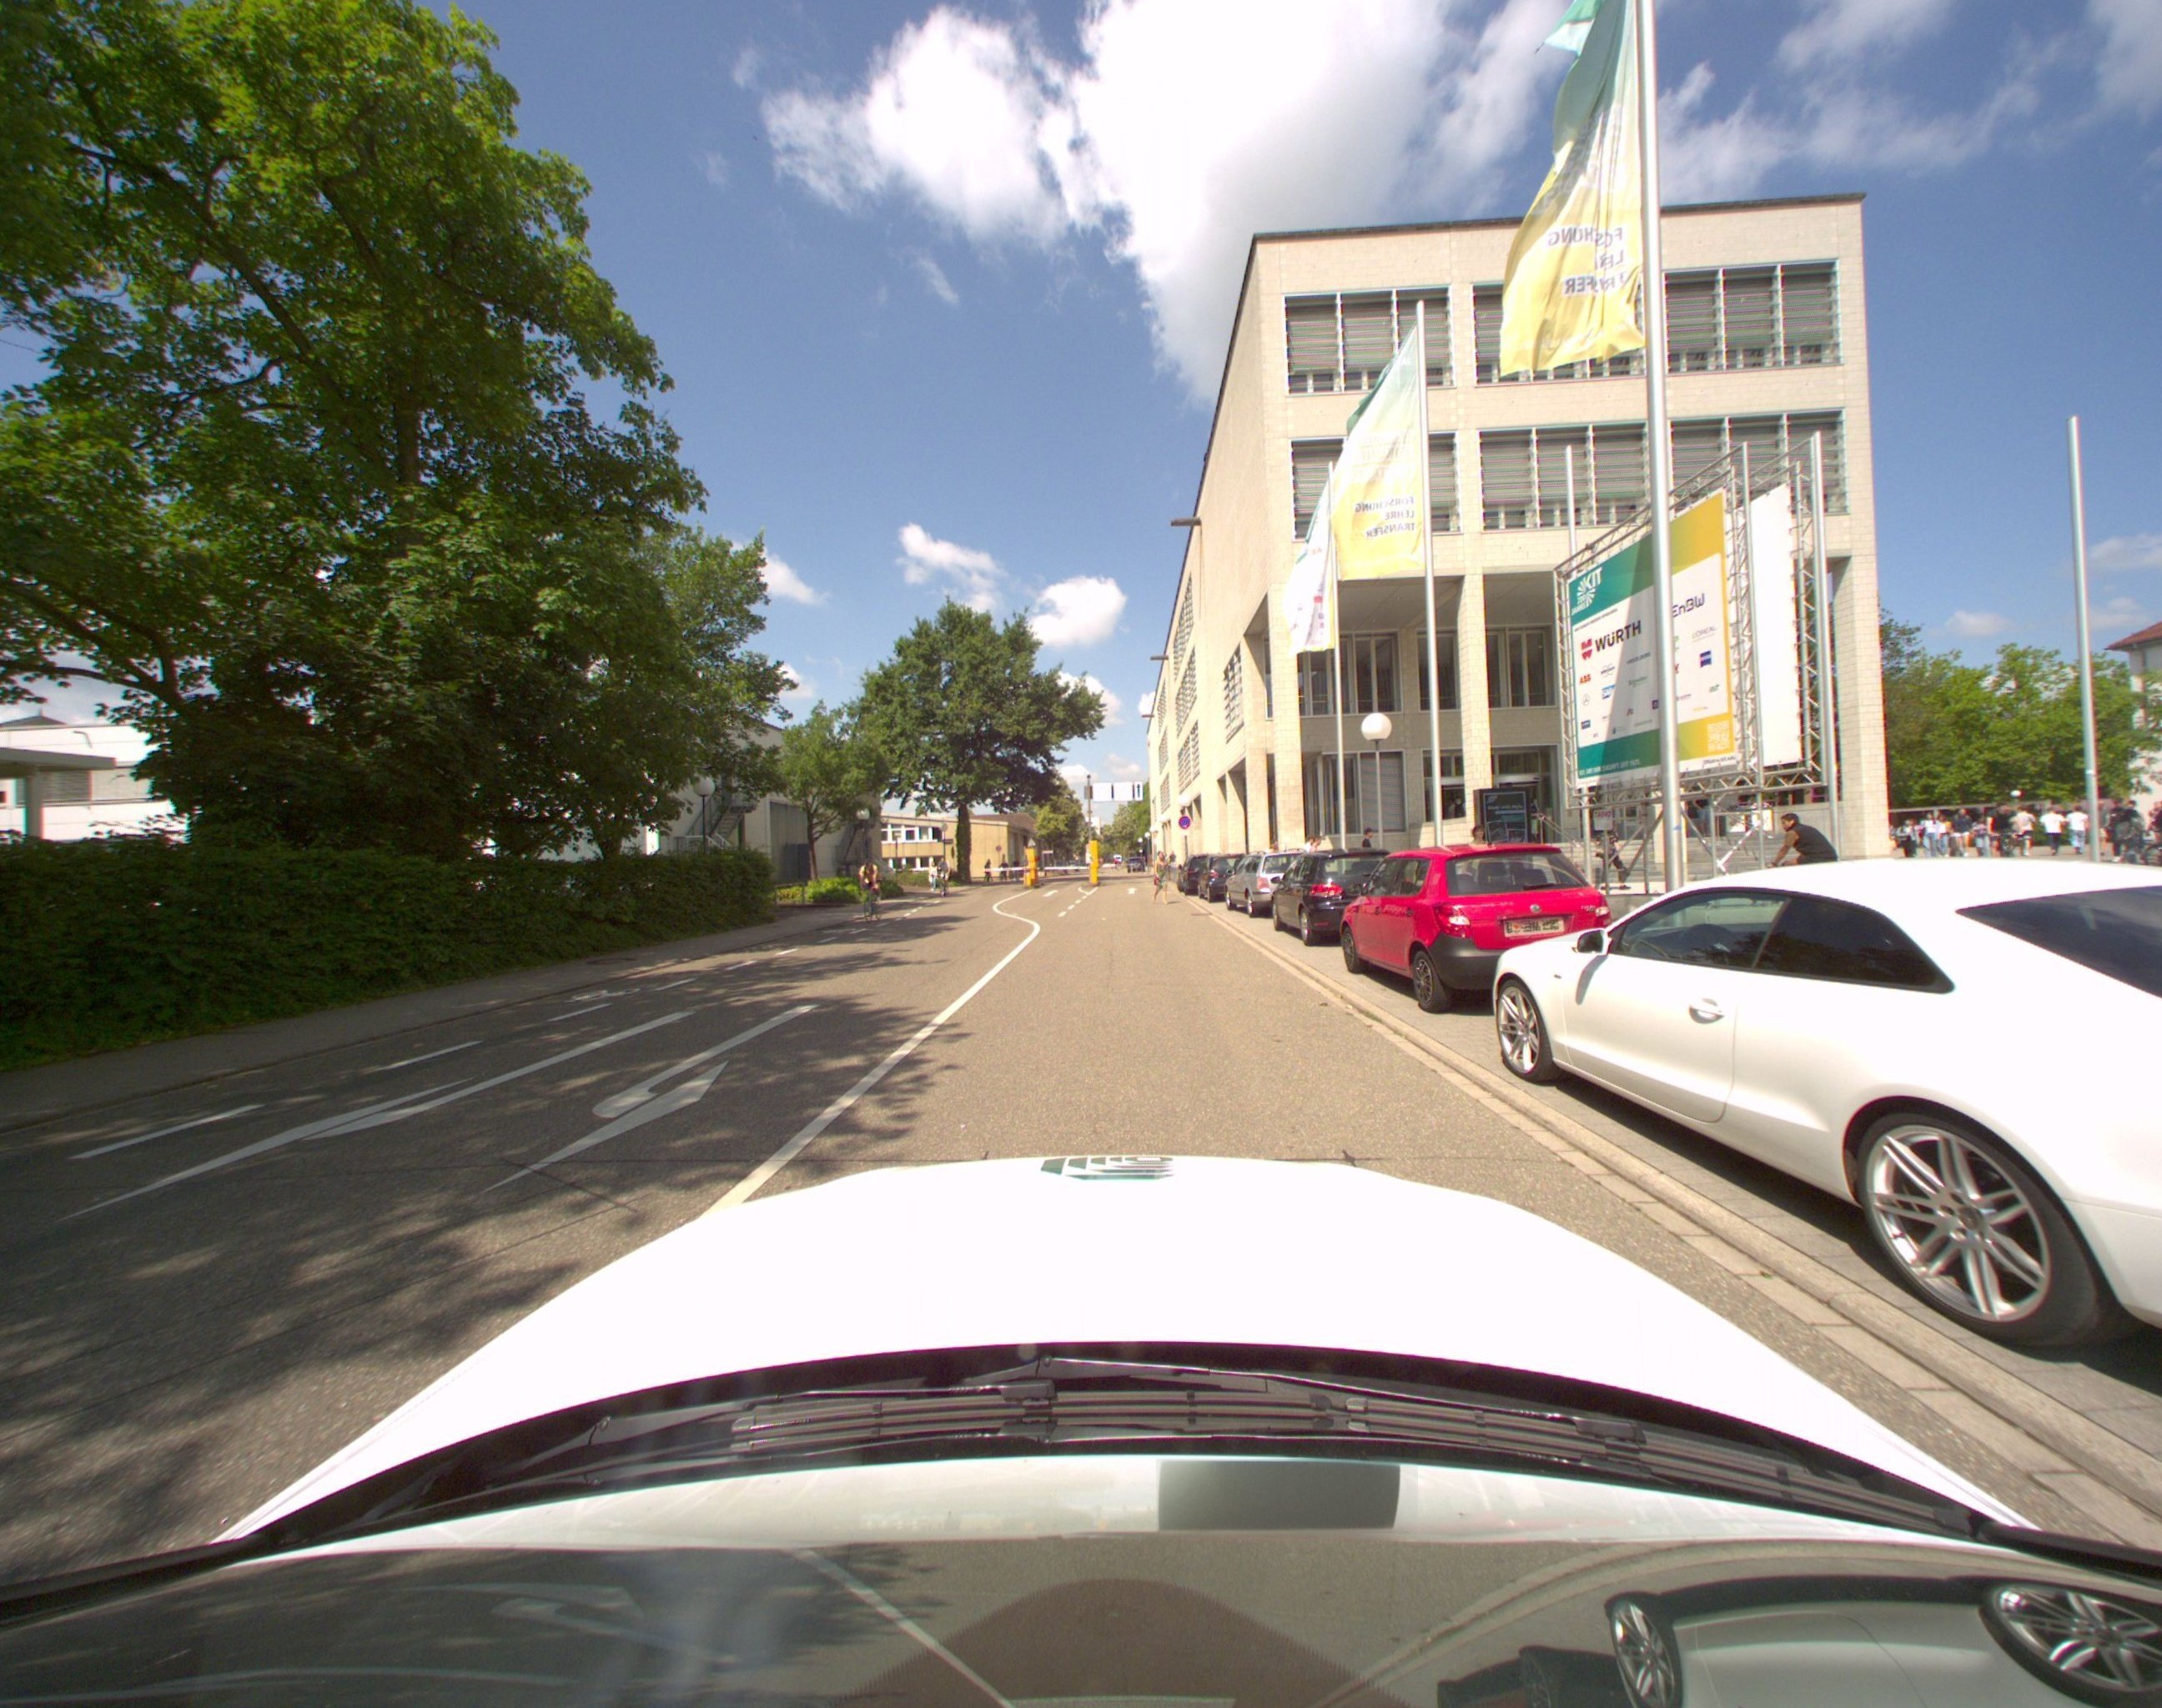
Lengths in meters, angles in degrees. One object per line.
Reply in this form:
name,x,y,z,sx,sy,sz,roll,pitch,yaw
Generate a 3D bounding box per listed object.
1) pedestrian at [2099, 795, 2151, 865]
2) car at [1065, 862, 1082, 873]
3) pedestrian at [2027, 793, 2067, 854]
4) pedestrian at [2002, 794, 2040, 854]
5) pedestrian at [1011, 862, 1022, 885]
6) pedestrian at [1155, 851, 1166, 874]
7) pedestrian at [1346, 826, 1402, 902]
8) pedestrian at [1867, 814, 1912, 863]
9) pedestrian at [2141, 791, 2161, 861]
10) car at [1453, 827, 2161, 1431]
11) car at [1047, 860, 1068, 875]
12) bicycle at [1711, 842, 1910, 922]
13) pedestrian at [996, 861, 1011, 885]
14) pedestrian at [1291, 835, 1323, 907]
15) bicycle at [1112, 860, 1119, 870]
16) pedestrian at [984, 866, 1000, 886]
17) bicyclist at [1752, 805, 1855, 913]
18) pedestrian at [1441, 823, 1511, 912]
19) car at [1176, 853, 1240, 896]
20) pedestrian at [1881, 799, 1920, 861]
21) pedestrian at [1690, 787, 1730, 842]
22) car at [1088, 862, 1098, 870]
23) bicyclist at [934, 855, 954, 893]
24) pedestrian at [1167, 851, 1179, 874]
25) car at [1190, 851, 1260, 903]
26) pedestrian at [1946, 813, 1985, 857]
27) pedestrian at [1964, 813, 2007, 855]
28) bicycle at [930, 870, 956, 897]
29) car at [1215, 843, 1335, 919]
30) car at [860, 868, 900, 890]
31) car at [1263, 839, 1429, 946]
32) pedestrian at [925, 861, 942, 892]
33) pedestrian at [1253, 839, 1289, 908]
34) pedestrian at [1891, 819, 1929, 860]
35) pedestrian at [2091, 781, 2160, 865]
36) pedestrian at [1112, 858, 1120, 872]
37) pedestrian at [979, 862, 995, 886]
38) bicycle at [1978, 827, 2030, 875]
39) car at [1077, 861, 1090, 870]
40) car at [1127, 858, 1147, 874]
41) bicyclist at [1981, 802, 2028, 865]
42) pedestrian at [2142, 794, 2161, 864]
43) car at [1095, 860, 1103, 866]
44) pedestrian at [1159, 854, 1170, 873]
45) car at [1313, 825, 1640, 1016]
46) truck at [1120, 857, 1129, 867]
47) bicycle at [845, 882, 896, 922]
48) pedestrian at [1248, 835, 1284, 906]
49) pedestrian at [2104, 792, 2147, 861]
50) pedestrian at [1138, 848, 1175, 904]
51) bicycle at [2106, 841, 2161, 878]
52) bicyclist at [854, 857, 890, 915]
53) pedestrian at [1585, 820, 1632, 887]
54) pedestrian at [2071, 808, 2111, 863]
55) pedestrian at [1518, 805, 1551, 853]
pedestrian,26.936,-0.600,21.019,0.626,1.747,0.721,-5,-4,44
car,-1.024,1.864,114.762,1.985,1.546,4.215,-2,-1,3
pedestrian,36.013,-1.131,30.372,0.635,2.230,0.710,-1,-3,-27
pedestrian,36.001,-1.132,31.191,0.636,2.230,0.710,-1,-3,-28
pedestrian,-5.154,1.543,65.288,0.702,1.809,1.002,-2,0,1
pedestrian,6.288,0.687,64.657,0.692,1.780,1.086,-3,0,1
pedestrian,7.731,0.259,21.566,1.090,1.920,1.021,-2,-1,3
pedestrian,28.949,-0.542,29.161,0.862,1.702,0.637,-3,-3,21
pedestrian,34.653,-0.897,26.068,0.718,2.230,0.628,-1,-3,-28
car,3.531,0.662,3.745,1.711,1.400,4.441,-4,-1,3
car,-2.608,1.525,92.843,1.985,1.546,4.215,-2,-1,3
bicycle,10.975,0.413,12.389,0.900,1.079,2.148,-2,-1,-8
pedestrian,-6.222,1.532,65.396,1.052,1.816,0.806,-2,0,1
pedestrian,6.241,0.471,22.534,0.719,1.925,0.753,-2,-1,10
bicycle,5.205,1.631,122.577,0.983,1.316,2.965,-2,-2,2
pedestrian,-7.313,1.800,66.837,0.876,1.632,0.902,-2,-2,26
bicyclist,10.986,0.070,12.412,0.661,1.564,0.930,-2,-1,-10
pedestrian,8.113,0.271,16.776,0.914,1.740,1.002,-2,-1,2
car,4.727,0.730,30.898,1.859,1.464,4.523,-2,-1,2
pedestrian,30.370,-0.880,30.193,0.708,2.230,0.637,-3,-3,21
pedestrian,21.389,-1.325,27.710,0.714,1.798,0.717,-2,-3,5
car,2.487,2.418,169.725,1.985,1.546,4.215,-2,-1,3
bicyclist,-6.273,0.917,37.430,0.690,1.737,0.919,-2,-1,1
pedestrian,7.305,0.649,64.588,0.764,1.780,0.911,-3,0,1
car,4.602,0.715,26.485,1.608,1.496,4.007,-2,-1,1
pedestrian,31.184,-0.652,28.732,0.626,1.498,0.720,-3,-3,25
pedestrian,32.064,-0.693,28.879,0.631,1.437,0.715,-2,-3,-7
bicycle,-6.344,1.362,37.534,0.690,1.171,2.210,-2,-1,2
car,4.573,0.599,19.895,1.714,1.529,4.565,-4,-1,-1
car,-15.209,1.882,61.959,1.822,1.467,4.300,-2,0,1
car,4.396,0.593,14.123,1.712,1.529,4.003,-2,-1,3
pedestrian,-7.934,1.184,43.833,0.710,1.627,0.884,-2,-1,1
pedestrian,5.376,0.546,23.018,0.775,1.925,0.739,-2,-1,24
pedestrian,30.055,-0.528,29.536,0.708,1.431,0.637,-3,-3,21
pedestrian,28.807,-0.833,22.482,0.844,2.230,0.637,-3,-3,22
pedestrian,4.275,1.336,99.971,0.890,1.632,0.888,-1,-2,2
pedestrian,-7.614,1.633,65.813,0.876,1.925,1.012,-2,-2,26
bicycle,23.354,-0.096,20.607,1.699,1.138,0.675,-3,1,-35
car,0.448,2.055,142.881,1.985,1.546,4.215,-2,-1,3
car,5.839,1.266,85.098,1.985,1.546,4.215,-2,-1,3
bicyclist,23.419,-0.523,20.657,0.883,1.569,0.675,-2,0,-35
pedestrian,27.379,-0.638,20.503,0.626,1.747,0.721,-5,-4,44
car,5.472,2.762,247.331,1.984,1.720,4.005,-2,-2,5
pedestrian,7.137,0.798,69.874,0.738,1.632,0.888,-3,0,1
car,3.924,0.569,8.943,1.608,1.496,4.149,-4,0,2
truck,10.145,1.909,190.385,1.986,2.014,4.000,-2,-2,1
bicycle,-5.881,1.324,22.887,0.790,0.989,2.210,-2,-1,2
pedestrian,5.082,0.452,22.382,0.776,1.925,0.597,-2,-1,24
pedestrian,34.371,-0.891,26.793,0.718,2.230,0.628,-1,-3,-28
pedestrian,2.398,0.691,25.856,0.626,1.717,1.030,-2,-1,-30
bicycle,25.108,0.119,19.111,1.762,0.792,0.518,-2,-1,-11
bicyclist,-5.877,0.887,22.949,0.690,1.548,1.019,-2,-1,2
pedestrian,13.249,-0.012,20.451,0.694,1.639,0.730,-1,-1,-36
pedestrian,33.993,-0.614,27.402,0.718,1.777,0.628,-1,-3,-28
pedestrian,15.909,-0.865,28.577,0.714,1.585,0.717,-2,-3,5
